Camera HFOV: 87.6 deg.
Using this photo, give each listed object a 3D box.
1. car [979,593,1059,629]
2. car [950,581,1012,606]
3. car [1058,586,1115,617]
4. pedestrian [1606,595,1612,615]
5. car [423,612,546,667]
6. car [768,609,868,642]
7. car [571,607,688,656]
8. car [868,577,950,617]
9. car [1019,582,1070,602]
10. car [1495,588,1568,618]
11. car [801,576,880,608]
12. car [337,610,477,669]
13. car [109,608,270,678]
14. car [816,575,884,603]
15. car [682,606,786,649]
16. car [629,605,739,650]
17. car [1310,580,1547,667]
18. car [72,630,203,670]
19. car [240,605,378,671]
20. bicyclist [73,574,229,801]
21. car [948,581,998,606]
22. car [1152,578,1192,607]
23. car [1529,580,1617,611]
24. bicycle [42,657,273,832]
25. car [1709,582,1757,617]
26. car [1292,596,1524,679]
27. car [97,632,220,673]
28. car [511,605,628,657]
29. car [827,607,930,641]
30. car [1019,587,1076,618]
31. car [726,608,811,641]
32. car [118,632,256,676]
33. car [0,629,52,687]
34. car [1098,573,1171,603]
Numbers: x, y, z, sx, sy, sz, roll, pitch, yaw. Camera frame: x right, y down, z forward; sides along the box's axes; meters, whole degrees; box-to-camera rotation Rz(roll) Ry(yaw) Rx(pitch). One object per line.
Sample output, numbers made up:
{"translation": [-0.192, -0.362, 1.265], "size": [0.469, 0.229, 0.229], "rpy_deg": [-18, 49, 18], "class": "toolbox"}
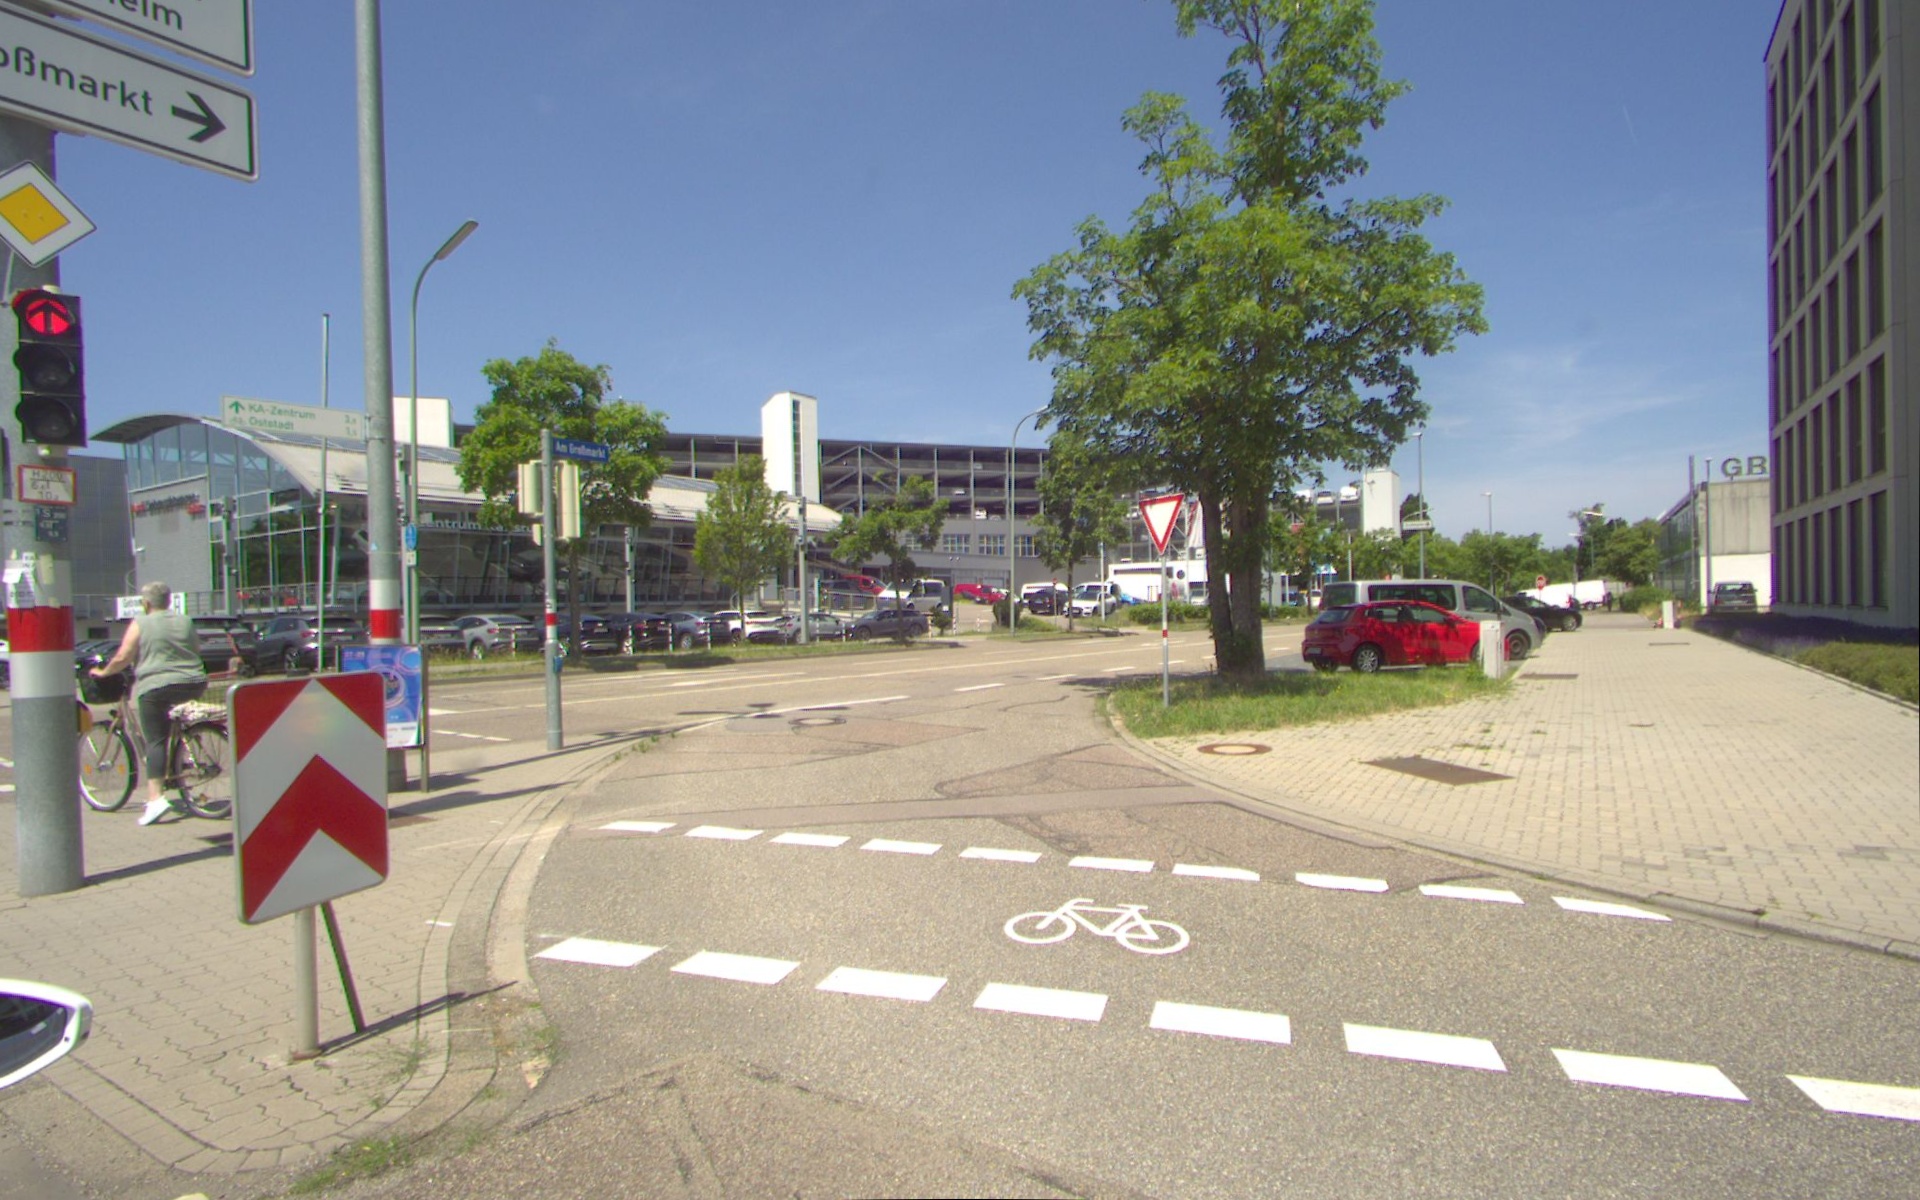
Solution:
{"translation": [3.010, 0.554, 50.268], "size": [1.888, 1.717, 4.560], "rpy_deg": [-1, 0, 35], "class": "car"}
{"translation": [1.647, -0.491, 78.023], "size": [4.525, 1.821, 1.903], "rpy_deg": [-1, 0, 34], "class": "car"}
{"translation": [7.638, 0.139, 60.193], "size": [1.970, 1.727, 3.983], "rpy_deg": [-1, -2, 30], "class": "car"}
{"translation": [51.619, 0.381, 79.645], "size": [0.399, 1.580, 0.546], "rpy_deg": [-1, 1, 33], "class": "pedestrian"}
{"translation": [-15.092, 1.204, 31.772], "size": [3.758, 1.637, 1.635], "rpy_deg": [0, 0, 28], "class": "car"}
{"translation": [-7.000, 1.250, 49.628], "size": [4.527, 1.491, 1.902], "rpy_deg": [-1, 0, -34], "class": "car"}
{"translation": [-12.076, 1.178, 36.550], "size": [3.937, 1.675, 1.844], "rpy_deg": [-1, -3, 28], "class": "car"}
{"translation": [-2.674, -0.159, 54.012], "size": [1.885, 1.992, 5.228], "rpy_deg": [-1, 0, 29], "class": "car"}
{"translation": [7.754, -0.740, 92.271], "size": [4.294, 1.674, 1.904], "rpy_deg": [-1, 0, 31], "class": "car"}
{"translation": [41.488, 0.235, 72.701], "size": [4.513, 2.039, 1.990], "rpy_deg": [-1, -2, 33], "class": "car"}
{"translation": [-6.717, -0.426, 56.685], "size": [1.888, 1.730, 4.560], "rpy_deg": [-1, 0, 35], "class": "car"}
{"translation": [-16.565, 1.192, 29.994], "size": [3.937, 1.675, 1.844], "rpy_deg": [-1, -3, 28], "class": "car"}
{"translation": [-19.536, 1.112, 25.343], "size": [4.442, 1.578, 1.863], "rpy_deg": [-3, 0, 33], "class": "car"}
{"translation": [-7.266, -0.713, 66.068], "size": [4.082, 1.745, 1.907], "rpy_deg": [-1, 0, 25], "class": "car"}
{"translation": [-9.298, 1.155, 41.164], "size": [3.937, 1.675, 1.844], "rpy_deg": [-1, -3, 28], "class": "car"}
{"translation": [-10.721, 1.097, 38.878], "size": [3.937, 1.675, 1.844], "rpy_deg": [-1, -3, 28], "class": "car"}
{"translation": [10.905, 0.515, 23.405], "size": [4.841, 1.911, 1.918], "rpy_deg": [0, 0, -12], "class": "car"}
{"translation": [-34.705, 2.116, 42.374], "size": [1.610, 1.593, 3.977], "rpy_deg": [-1, -3, 32], "class": "car"}
{"translation": [-17.897, 1.063, 27.489], "size": [3.947, 1.676, 1.839], "rpy_deg": [-3, -1, 35], "class": "car"}
{"translation": [-6.155, 0.642, 7.630], "size": [0.812, 1.626, 0.628], "rpy_deg": [-1, -1, 26], "class": "bicyclist"}
{"translation": [0.981, -0.446, 74.539], "size": [1.859, 1.728, 3.977], "rpy_deg": [-1, -1, 33], "class": "car"}
{"translation": [16.414, -0.560, 77.528], "size": [1.812, 2.039, 3.981], "rpy_deg": [-1, -2, 31], "class": "car"}
{"translation": [55.133, -0.358, 90.153], "size": [6.606, 2.552, 2.206], "rpy_deg": [-1, -2, 35], "class": "car"}
{"translation": [-6.106, 1.037, 7.603], "size": [1.864, 1.148, 0.628], "rpy_deg": [0, -1, 26], "class": "bicycle"}
{"translation": [42.191, 0.016, 54.720], "size": [1.772, 1.750, 3.978], "rpy_deg": [-1, -2, 34], "class": "car"}
{"translation": [8.958, 0.729, 20.188], "size": [3.923, 1.451, 1.699], "rpy_deg": [-2, -1, -7], "class": "car"}
{"translation": [-32.955, 2.147, 41.271], "size": [1.619, 1.600, 3.642], "rpy_deg": [-1, -3, 32], "class": "car"}
{"translation": [-13.326, 1.060, 34.156], "size": [3.851, 1.676, 1.627], "rpy_deg": [-1, -1, 28], "class": "car"}
{"translation": [-3.850, 1.132, 47.728], "size": [4.554, 1.491, 1.839], "rpy_deg": [-1, 0, -34], "class": "car"}
{"translation": [5.397, 0.184, 61.284], "size": [1.970, 1.727, 3.983], "rpy_deg": [-1, -2, 30], "class": "car"}
{"translation": [-9.889, 1.242, 51.695], "size": [3.938, 1.591, 1.842], "rpy_deg": [-1, 0, -28], "class": "car"}
{"translation": [-30.469, 2.123, 39.588], "size": [1.633, 1.642, 3.980], "rpy_deg": [-1, -3, 32], "class": "car"}
{"translation": [-25.161, 1.401, 24.100], "size": [1.843, 1.407, 4.583], "rpy_deg": [-2, -3, 34], "class": "car"}
{"translation": [12.002, -0.779, 68.869], "size": [4.521, 1.912, 1.904], "rpy_deg": [-1, 0, 31], "class": "car"}
